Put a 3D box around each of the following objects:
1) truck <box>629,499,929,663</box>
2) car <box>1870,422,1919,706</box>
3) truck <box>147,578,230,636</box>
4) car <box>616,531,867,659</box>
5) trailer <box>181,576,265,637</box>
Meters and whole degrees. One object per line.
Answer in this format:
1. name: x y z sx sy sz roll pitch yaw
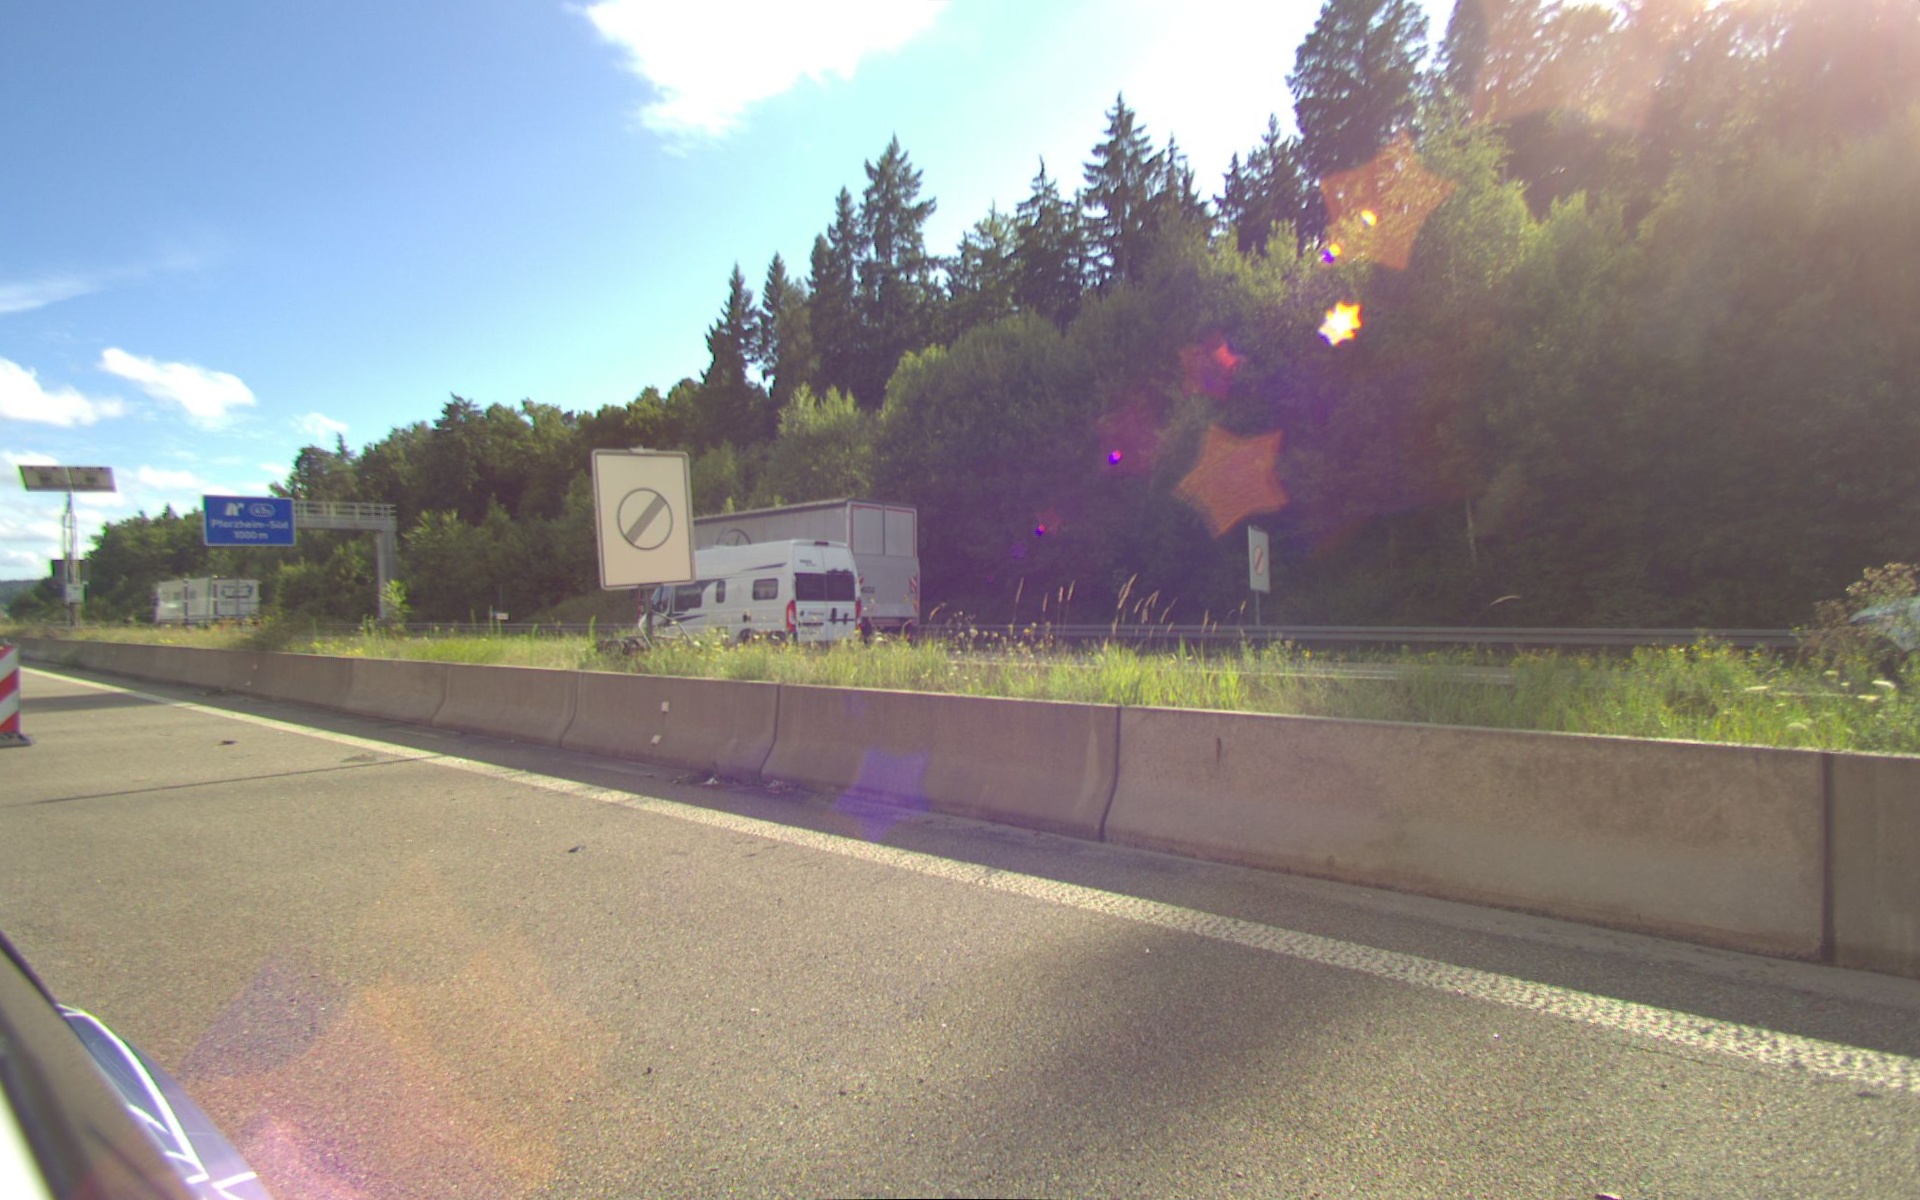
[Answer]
1. truck: -5.563 -0.381 29.200 10.180 4.022 2.771 -1 -1 41
2. car: 14.841 -0.474 10.843 7.448 3.395 2.461 -1 0 41
3. truck: -57.295 0.536 74.999 10.856 4.015 2.754 -1 0 41
4. car: -5.074 0.019 22.751 6.328 2.470 2.137 -4 -2 41
5. trailer: -50.031 0.448 68.604 8.484 3.953 2.762 -1 0 41
